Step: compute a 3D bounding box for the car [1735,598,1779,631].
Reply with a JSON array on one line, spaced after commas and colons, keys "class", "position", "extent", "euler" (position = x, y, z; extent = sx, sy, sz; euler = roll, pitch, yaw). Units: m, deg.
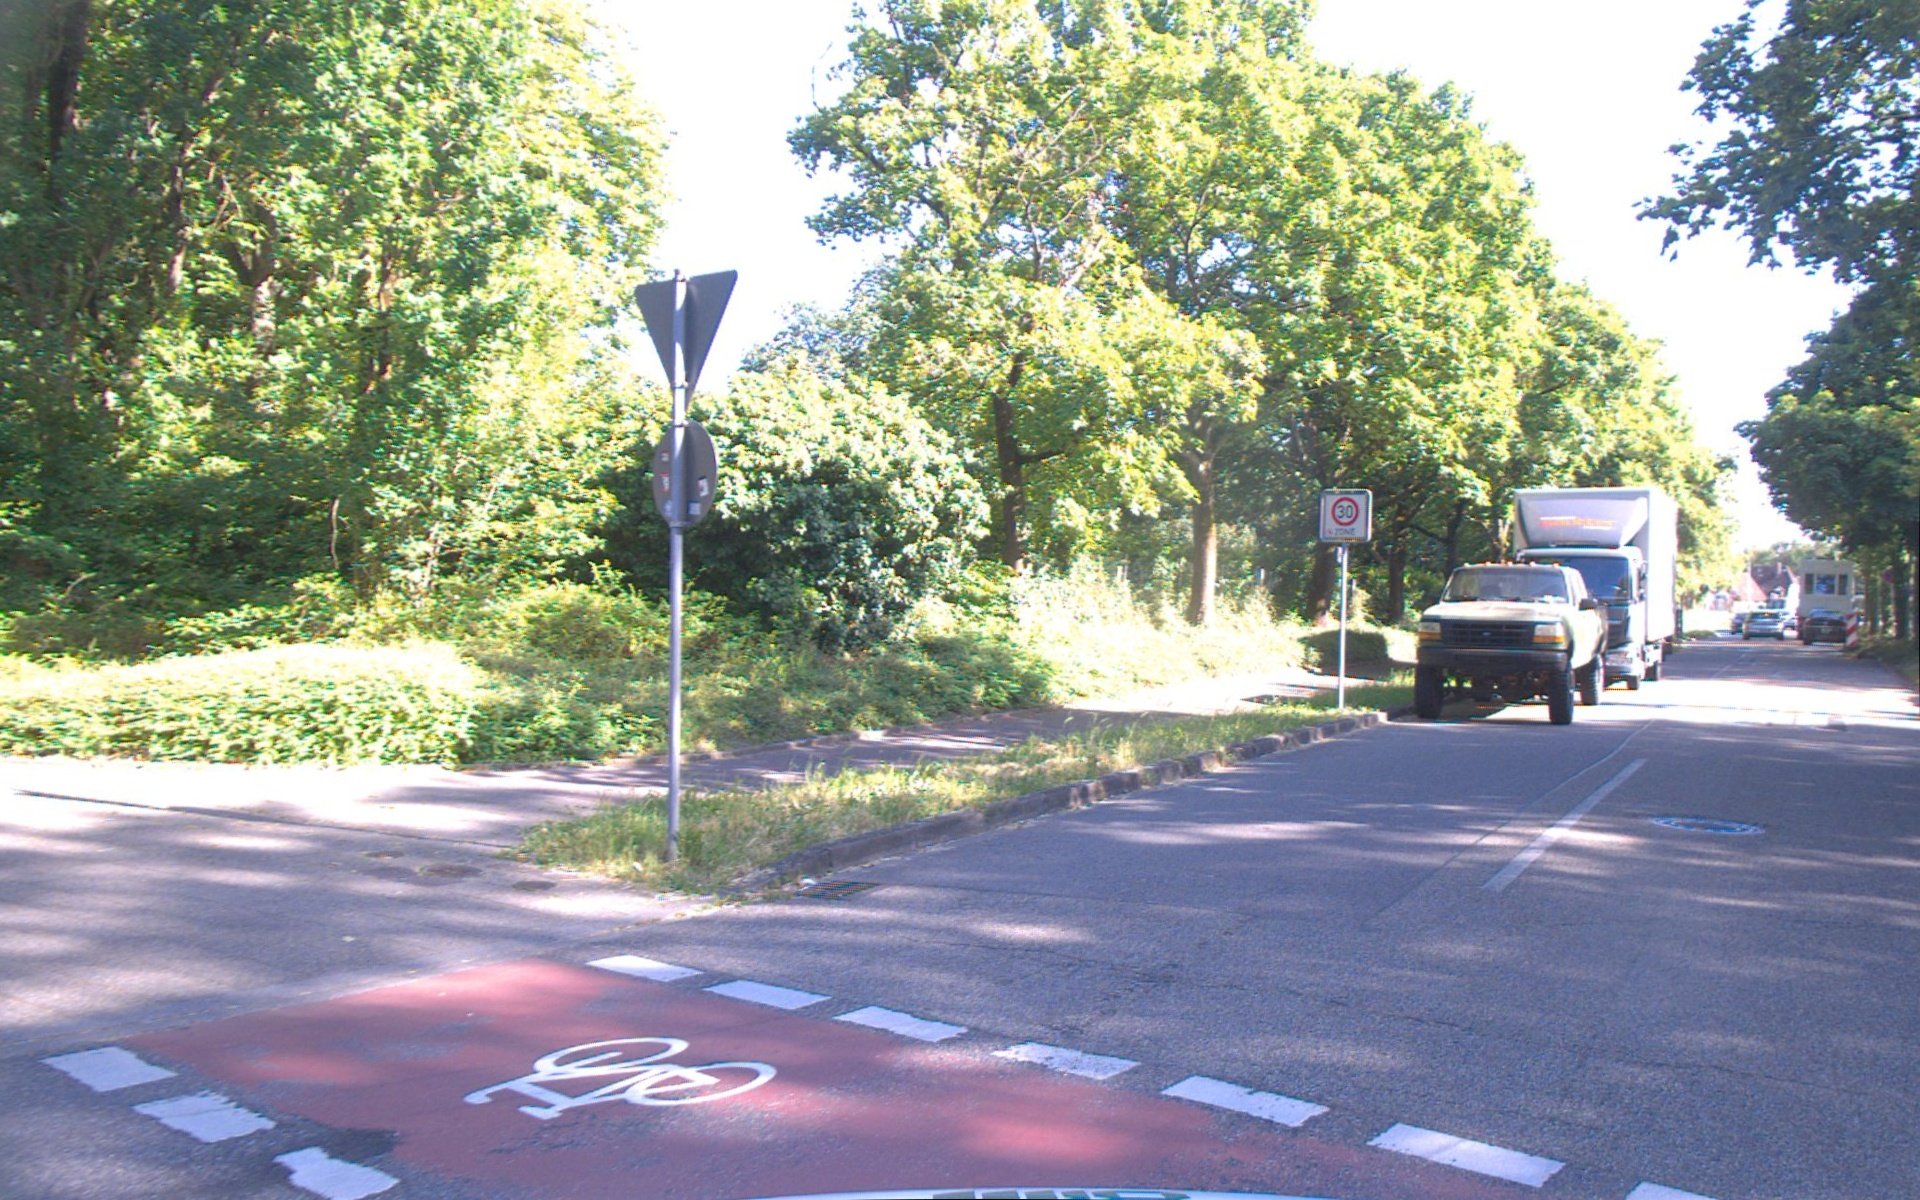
[{"class": "car", "position": [38.921, 0.712, 80.720], "extent": [1.760, 1.536, 3.994], "euler": [1, 0, 28]}]

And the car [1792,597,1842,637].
[{"class": "car", "position": [35.316, 0.692, 68.161], "extent": [1.760, 1.536, 3.994], "euler": [1, 0, 28]}]

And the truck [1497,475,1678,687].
[{"class": "truck", "position": [12.680, -0.334, 33.000], "extent": [2.563, 3.690, 7.948], "euler": [1, 0, 27]}]

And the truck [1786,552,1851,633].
[{"class": "truck", "position": [45.615, -0.405, 87.872], "extent": [2.832, 4.013, 9.986], "euler": [2, 1, 28]}]

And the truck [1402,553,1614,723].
[{"class": "truck", "position": [8.195, 0.468, 24.235], "extent": [2.072, 2.130, 6.641], "euler": [1, 0, 26]}]
